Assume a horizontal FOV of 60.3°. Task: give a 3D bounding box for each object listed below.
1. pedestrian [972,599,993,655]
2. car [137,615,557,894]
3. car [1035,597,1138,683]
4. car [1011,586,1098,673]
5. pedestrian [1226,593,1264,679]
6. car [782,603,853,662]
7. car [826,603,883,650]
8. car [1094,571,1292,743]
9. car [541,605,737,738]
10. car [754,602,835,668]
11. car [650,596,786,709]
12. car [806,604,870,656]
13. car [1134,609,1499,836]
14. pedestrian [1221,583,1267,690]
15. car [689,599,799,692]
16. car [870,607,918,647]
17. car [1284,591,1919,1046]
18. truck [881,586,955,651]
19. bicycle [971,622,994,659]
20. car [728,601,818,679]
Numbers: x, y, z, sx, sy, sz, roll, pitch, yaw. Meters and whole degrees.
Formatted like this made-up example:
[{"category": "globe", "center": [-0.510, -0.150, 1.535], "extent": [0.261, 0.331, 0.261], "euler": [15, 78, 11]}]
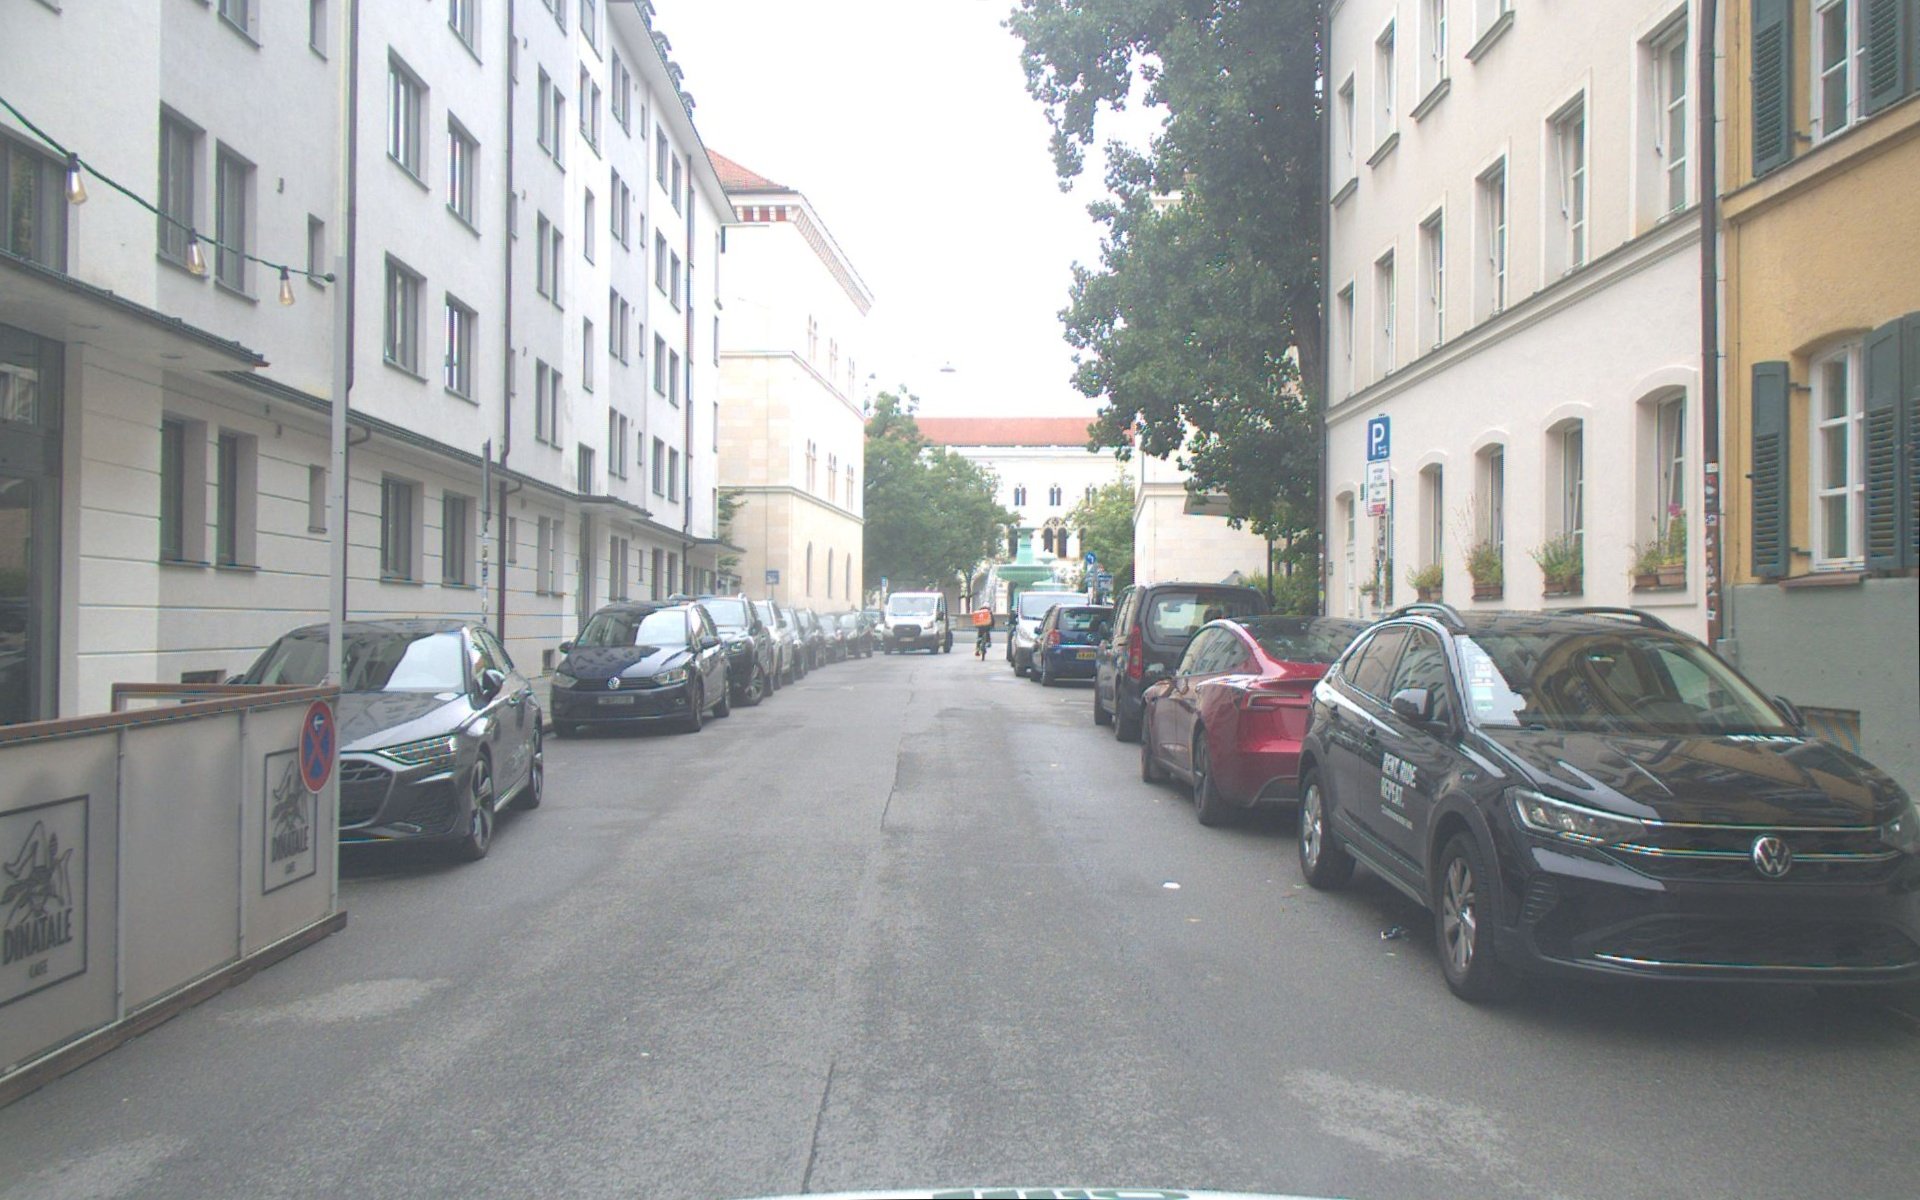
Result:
[{"category": "pedestrian", "center": [0.695, 0.839, 51.364], "extent": [0.629, 1.744, 0.842], "euler": [0, -1, -1]}, {"category": "car", "center": [-3.795, 0.842, 10.981], "extent": [1.729, 1.435, 4.148], "euler": [-1, 0, -8]}, {"category": "car", "center": [2.524, 0.783, 33.809], "extent": [1.774, 1.642, 4.155], "euler": [0, 0, 0]}, {"category": "car", "center": [2.200, 0.682, 39.681], "extent": [1.814, 1.953, 4.769], "euler": [0, 0, 0]}, {"category": "pedestrian", "center": [6.836, 0.865, 39.668], "extent": [0.656, 2.015, 0.708], "euler": [-3, -1, 0]}, {"category": "car", "center": [-4.223, 0.939, 49.338], "extent": [1.671, 1.637, 3.863], "euler": [-1, 0, 1]}, {"category": "car", "center": [-3.814, 0.940, 60.447], "extent": [1.671, 1.609, 3.864], "euler": [-1, 0, 2]}, {"category": "car", "center": [2.697, 0.635, 20.022], "extent": [1.774, 1.829, 4.246], "euler": [1, 0, 0]}, {"category": "car", "center": [-3.917, 0.824, 20.777], "extent": [1.781, 1.470, 3.817], "euler": [-1, 0, -1]}, {"category": "car", "center": [-4.329, 0.883, 43.778], "extent": [1.671, 1.637, 3.863], "euler": [-1, 0, 1]}, {"category": "car", "center": [-3.790, 0.790, 26.479], "extent": [1.672, 1.637, 3.861], "euler": [-1, 0, -1]}, {"category": "car", "center": [-3.966, 0.962, 54.348], "extent": [1.671, 1.637, 3.863], "euler": [-1, 0, 2]}, {"category": "car", "center": [2.549, 0.811, 12.878], "extent": [1.775, 1.449, 4.244], "euler": [1, 0, -2]}, {"category": "pedestrian", "center": [5.517, 0.705, 32.114], "extent": [0.656, 2.015, 0.708], "euler": [-3, -1, 0]}, {"category": "car", "center": [-4.075, 0.827, 31.685], "extent": [1.672, 1.637, 3.861], "euler": [-1, 0, -1]}, {"category": "car", "center": [-2.719, 1.102, 69.011], "extent": [1.671, 1.609, 3.864], "euler": [-1, 0, 2]}, {"category": "car", "center": [2.833, 0.747, 7.626], "extent": [1.775, 1.490, 4.246], "euler": [1, 0, -1]}, {"category": "truck", "center": [-1.498, 0.701, 61.392], "extent": [2.076, 2.287, 6.188], "euler": [-1, -1, 5]}, {"category": "bicycle", "center": [0.695, 1.260, 51.357], "extent": [0.662, 1.114, 1.759], "euler": [0, -1, -1]}, {"category": "car", "center": [-4.214, 0.878, 37.810], "extent": [1.672, 1.637, 3.861], "euler": [-1, 0, -1]}]
